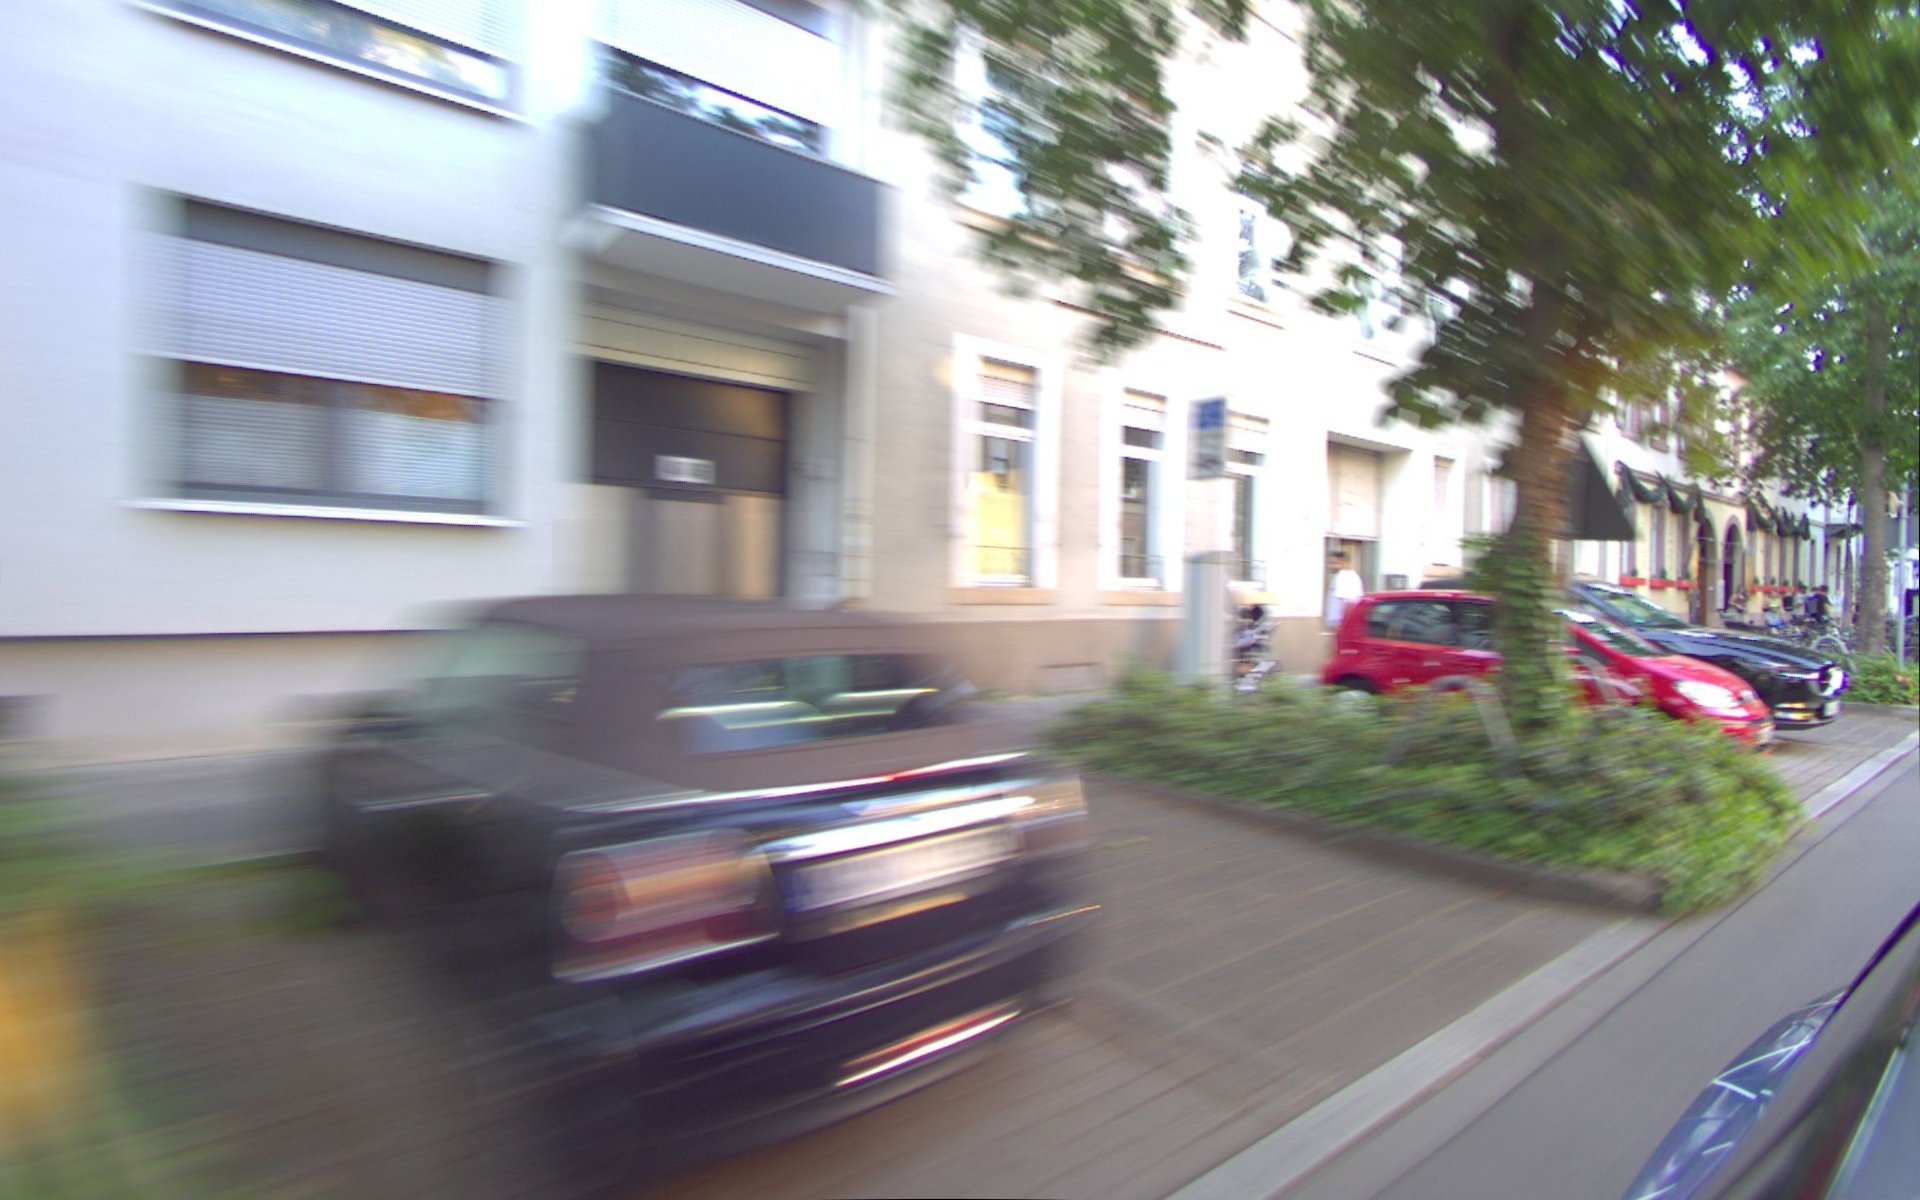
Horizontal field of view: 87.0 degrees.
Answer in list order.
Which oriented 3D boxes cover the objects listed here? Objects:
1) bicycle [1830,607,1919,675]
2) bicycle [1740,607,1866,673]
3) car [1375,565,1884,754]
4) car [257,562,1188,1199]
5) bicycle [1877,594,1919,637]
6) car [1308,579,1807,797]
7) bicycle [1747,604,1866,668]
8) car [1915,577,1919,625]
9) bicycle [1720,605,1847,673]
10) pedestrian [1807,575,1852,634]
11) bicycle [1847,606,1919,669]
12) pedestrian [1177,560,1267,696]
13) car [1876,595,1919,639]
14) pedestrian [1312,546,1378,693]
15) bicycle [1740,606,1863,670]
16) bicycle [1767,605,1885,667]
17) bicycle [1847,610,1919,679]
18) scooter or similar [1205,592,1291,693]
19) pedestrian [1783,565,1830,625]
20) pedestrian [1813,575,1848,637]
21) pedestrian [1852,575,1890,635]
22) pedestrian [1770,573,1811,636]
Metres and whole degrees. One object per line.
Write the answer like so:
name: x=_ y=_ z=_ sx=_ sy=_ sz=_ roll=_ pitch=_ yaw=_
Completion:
bicycle: x=17.664 y=0.764 z=19.073 sx=0.590 sy=1.193 sz=1.833 roll=1 pitch=2 yaw=-41
bicycle: x=16.194 y=0.739 z=19.475 sx=0.492 sy=1.121 sz=1.795 roll=1 pitch=2 yaw=-45
car: x=7.283 y=0.480 z=11.456 sx=1.865 sy=1.676 sz=4.437 roll=0 pitch=1 yaw=-38
car: x=-1.186 y=0.650 z=3.703 sx=1.867 sy=1.470 sz=3.489 roll=0 pitch=2 yaw=-42
bicycle: x=29.386 y=0.500 z=31.009 sx=1.793 sy=1.247 sz=0.663 roll=5 pitch=4 yaw=41
car: x=5.270 y=0.605 z=9.210 sx=1.867 sy=1.470 sz=3.489 roll=0 pitch=2 yaw=-42
bicycle: x=17.104 y=0.699 z=20.488 sx=1.793 sy=1.157 sz=0.641 roll=3 pitch=2 yaw=42
car: x=43.157 y=0.224 z=42.110 sx=2.001 sy=2.035 sz=4.701 roll=0 pitch=4 yaw=-40
bicycle: x=15.572 y=0.714 z=19.171 sx=1.793 sy=1.157 sz=0.659 roll=3 pitch=2 yaw=41
pedestrian: x=26.800 y=0.135 z=31.198 sx=0.732 sy=1.760 sz=0.716 roll=2 pitch=1 yaw=-20
bicycle: x=19.276 y=0.771 z=20.519 sx=0.661 sy=1.193 sz=1.833 roll=1 pitch=2 yaw=-41
pedestrian: x=3.136 y=0.307 z=12.123 sx=0.816 sy=1.555 sz=0.656 roll=0 pitch=1 yaw=-39
car: x=33.887 y=0.695 z=33.999 sx=1.853 sy=1.410 sz=4.410 roll=0 pitch=5 yaw=-42
pedestrian: x=4.774 y=0.219 z=12.581 sx=0.683 sy=1.758 sz=0.670 roll=2 pitch=1 yaw=19
bicycle: x=16.515 y=0.724 z=19.888 sx=0.492 sy=1.121 sz=1.795 roll=1 pitch=2 yaw=-45
bicycle: x=17.833 y=0.717 z=20.866 sx=1.795 sy=1.142 sz=0.653 roll=3 pitch=2 yaw=45
bicycle: x=16.943 y=0.801 z=17.895 sx=1.835 sy=1.149 sz=0.734 roll=3 pitch=2 yaw=40
scooter or similar: x=3.548 y=0.501 z=12.478 sx=0.816 sy=1.167 sz=0.656 roll=0 pitch=1 yaw=-39
pedestrian: x=25.846 y=-0.159 z=30.906 sx=0.729 sy=1.760 sz=0.729 roll=2 pitch=1 yaw=-13
pedestrian: x=25.391 y=0.170 z=29.527 sx=0.612 sy=1.760 sz=0.616 roll=2 pitch=2 yaw=-40
pedestrian: x=27.826 y=0.149 z=30.916 sx=0.713 sy=1.760 sz=0.707 roll=2 pitch=2 yaw=-41
pedestrian: x=24.260 y=0.123 z=29.580 sx=0.774 sy=1.760 sz=0.676 roll=4 pitch=1 yaw=34
